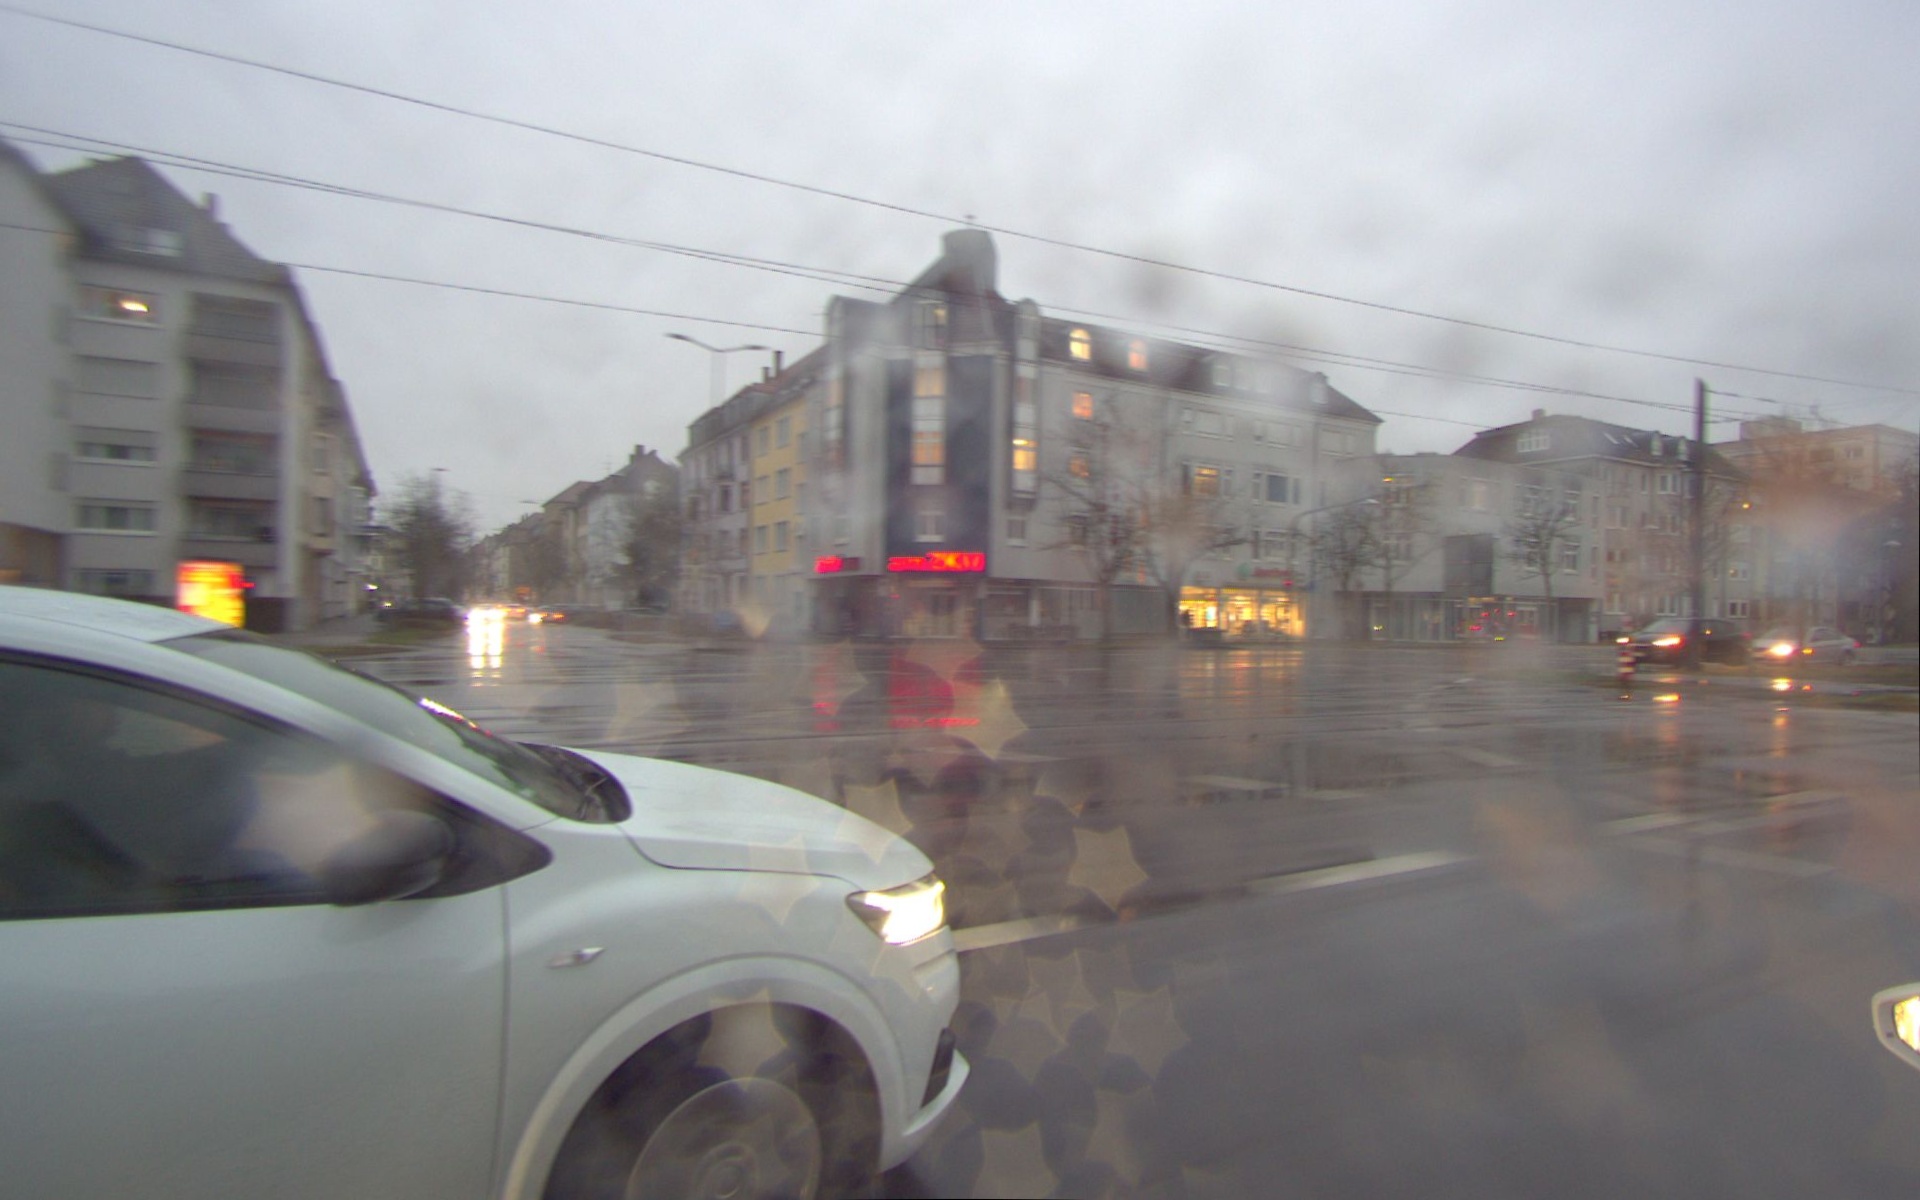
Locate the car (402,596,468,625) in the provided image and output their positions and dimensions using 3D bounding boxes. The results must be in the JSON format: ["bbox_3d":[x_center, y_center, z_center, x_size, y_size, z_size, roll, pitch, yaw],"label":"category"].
[{"bbox_3d":[-36.381,0.763,69.661,3.953,1.824,1.563,3,0,-30],"label":"car"}]

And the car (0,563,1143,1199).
[{"bbox_3d":[-1.699,0.689,2.222,3.953,1.485,1.700,3,0,-30],"label":"car"}]

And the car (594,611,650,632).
[{"bbox_3d":[-23.665,1.510,70.282,3.448,1.308,1.589,3,0,-30],"label":"car"}]

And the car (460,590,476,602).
[{"bbox_3d":[-74.525,-0.635,152.137,1.741,1.621,3.874,2,0,-33],"label":"car"}]

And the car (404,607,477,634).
[{"bbox_3d":[-28.239,1.133,54.585,3.414,1.315,1.576,3,0,-30],"label":"car"}]

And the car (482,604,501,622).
[{"bbox_3d":[-41.608,1.124,89.164,1.470,1.379,3.415,3,0,-26],"label":"car"}]

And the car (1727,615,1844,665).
[{"bbox_3d":[29.000,1.421,35.229,4.878,1.549,1.579,3,0,-31],"label":"car"}]

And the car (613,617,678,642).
[{"bbox_3d":[-19.669,1.858,62.816,3.574,1.360,1.589,3,0,-30],"label":"car"}]

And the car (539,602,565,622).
[{"bbox_3d":[-31.511,0.924,77.502,1.662,1.365,3.513,3,0,-24],"label":"car"}]

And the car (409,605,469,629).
[{"bbox_3d":[-34.856,1.130,67.256,3.474,1.464,1.434,3,0,-30],"label":"car"}]

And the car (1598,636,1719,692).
[{"bbox_3d":[22.977,2.091,33.014,3.955,1.628,1.795,3,0,-31],"label":"car"}]

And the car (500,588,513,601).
[{"bbox_3d":[-62.919,-0.759,139.457,1.490,1.736,3.588,3,0,-26],"label":"car"}]

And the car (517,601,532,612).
[{"bbox_3d":[-52.296,0.767,120.554,1.425,1.245,3.588,3,0,-26],"label":"car"}]

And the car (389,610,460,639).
[{"bbox_3d":[-31.139,1.422,58.457,3.574,1.542,1.667,3,0,-30],"label":"car"}]

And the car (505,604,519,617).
[{"bbox_3d":[-44.112,1.041,98.872,1.153,1.161,2.453,3,0,-26],"label":"car"}]

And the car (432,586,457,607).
[{"bbox_3d":[-48.026,-0.329,93.602,1.975,1.855,3.836,3,0,-27],"label":"car"}]

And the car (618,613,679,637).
[{"bbox_3d":[-20.556,1.653,66.353,3.574,1.360,1.589,3,0,-30],"label":"car"}]
